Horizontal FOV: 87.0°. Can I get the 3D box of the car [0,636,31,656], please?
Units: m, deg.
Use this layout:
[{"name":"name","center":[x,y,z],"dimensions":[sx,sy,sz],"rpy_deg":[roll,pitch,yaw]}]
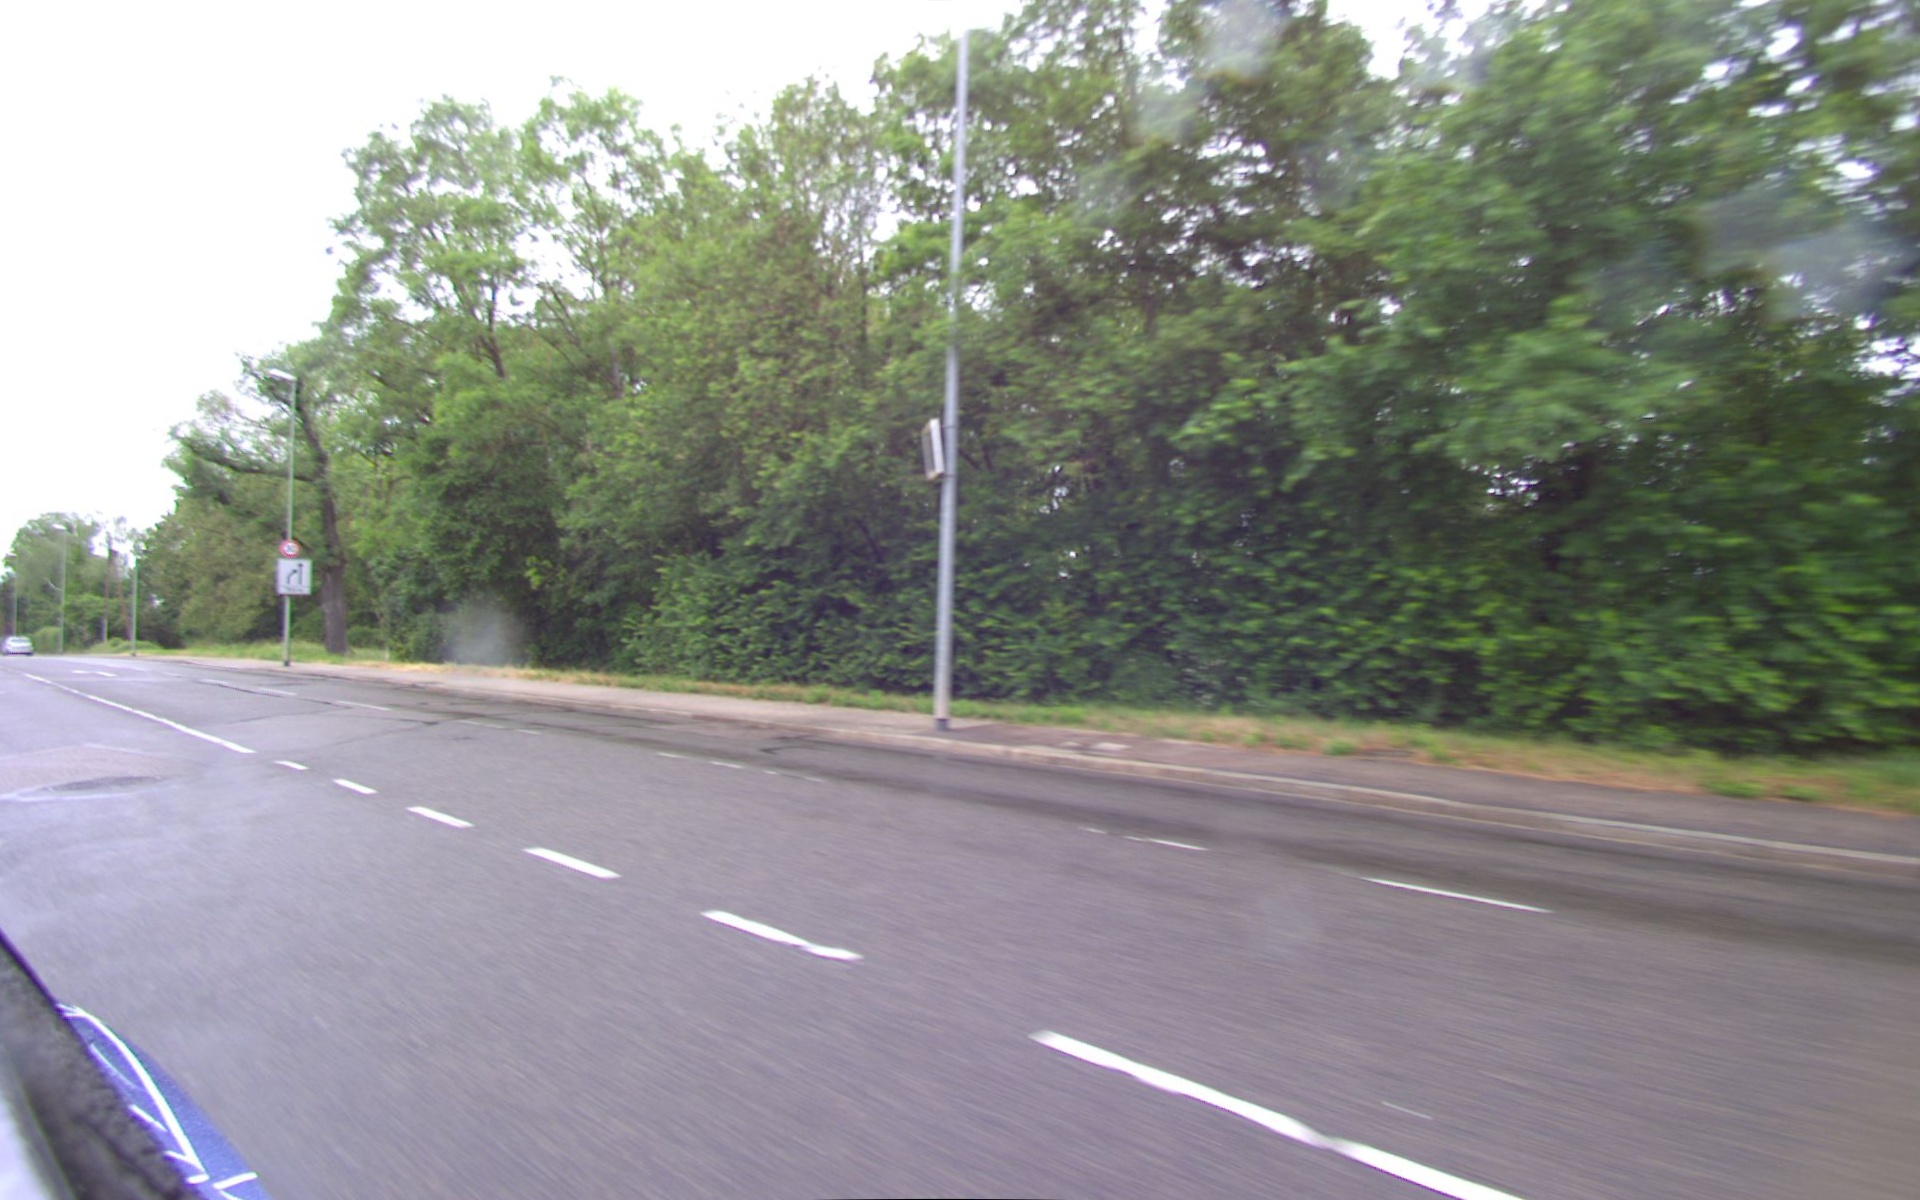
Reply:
[{"name":"car","center":[-74.224,3.613,79.418],"dimensions":[4.453,1.494,1.670],"rpy_deg":[-1,-3,44]}]
